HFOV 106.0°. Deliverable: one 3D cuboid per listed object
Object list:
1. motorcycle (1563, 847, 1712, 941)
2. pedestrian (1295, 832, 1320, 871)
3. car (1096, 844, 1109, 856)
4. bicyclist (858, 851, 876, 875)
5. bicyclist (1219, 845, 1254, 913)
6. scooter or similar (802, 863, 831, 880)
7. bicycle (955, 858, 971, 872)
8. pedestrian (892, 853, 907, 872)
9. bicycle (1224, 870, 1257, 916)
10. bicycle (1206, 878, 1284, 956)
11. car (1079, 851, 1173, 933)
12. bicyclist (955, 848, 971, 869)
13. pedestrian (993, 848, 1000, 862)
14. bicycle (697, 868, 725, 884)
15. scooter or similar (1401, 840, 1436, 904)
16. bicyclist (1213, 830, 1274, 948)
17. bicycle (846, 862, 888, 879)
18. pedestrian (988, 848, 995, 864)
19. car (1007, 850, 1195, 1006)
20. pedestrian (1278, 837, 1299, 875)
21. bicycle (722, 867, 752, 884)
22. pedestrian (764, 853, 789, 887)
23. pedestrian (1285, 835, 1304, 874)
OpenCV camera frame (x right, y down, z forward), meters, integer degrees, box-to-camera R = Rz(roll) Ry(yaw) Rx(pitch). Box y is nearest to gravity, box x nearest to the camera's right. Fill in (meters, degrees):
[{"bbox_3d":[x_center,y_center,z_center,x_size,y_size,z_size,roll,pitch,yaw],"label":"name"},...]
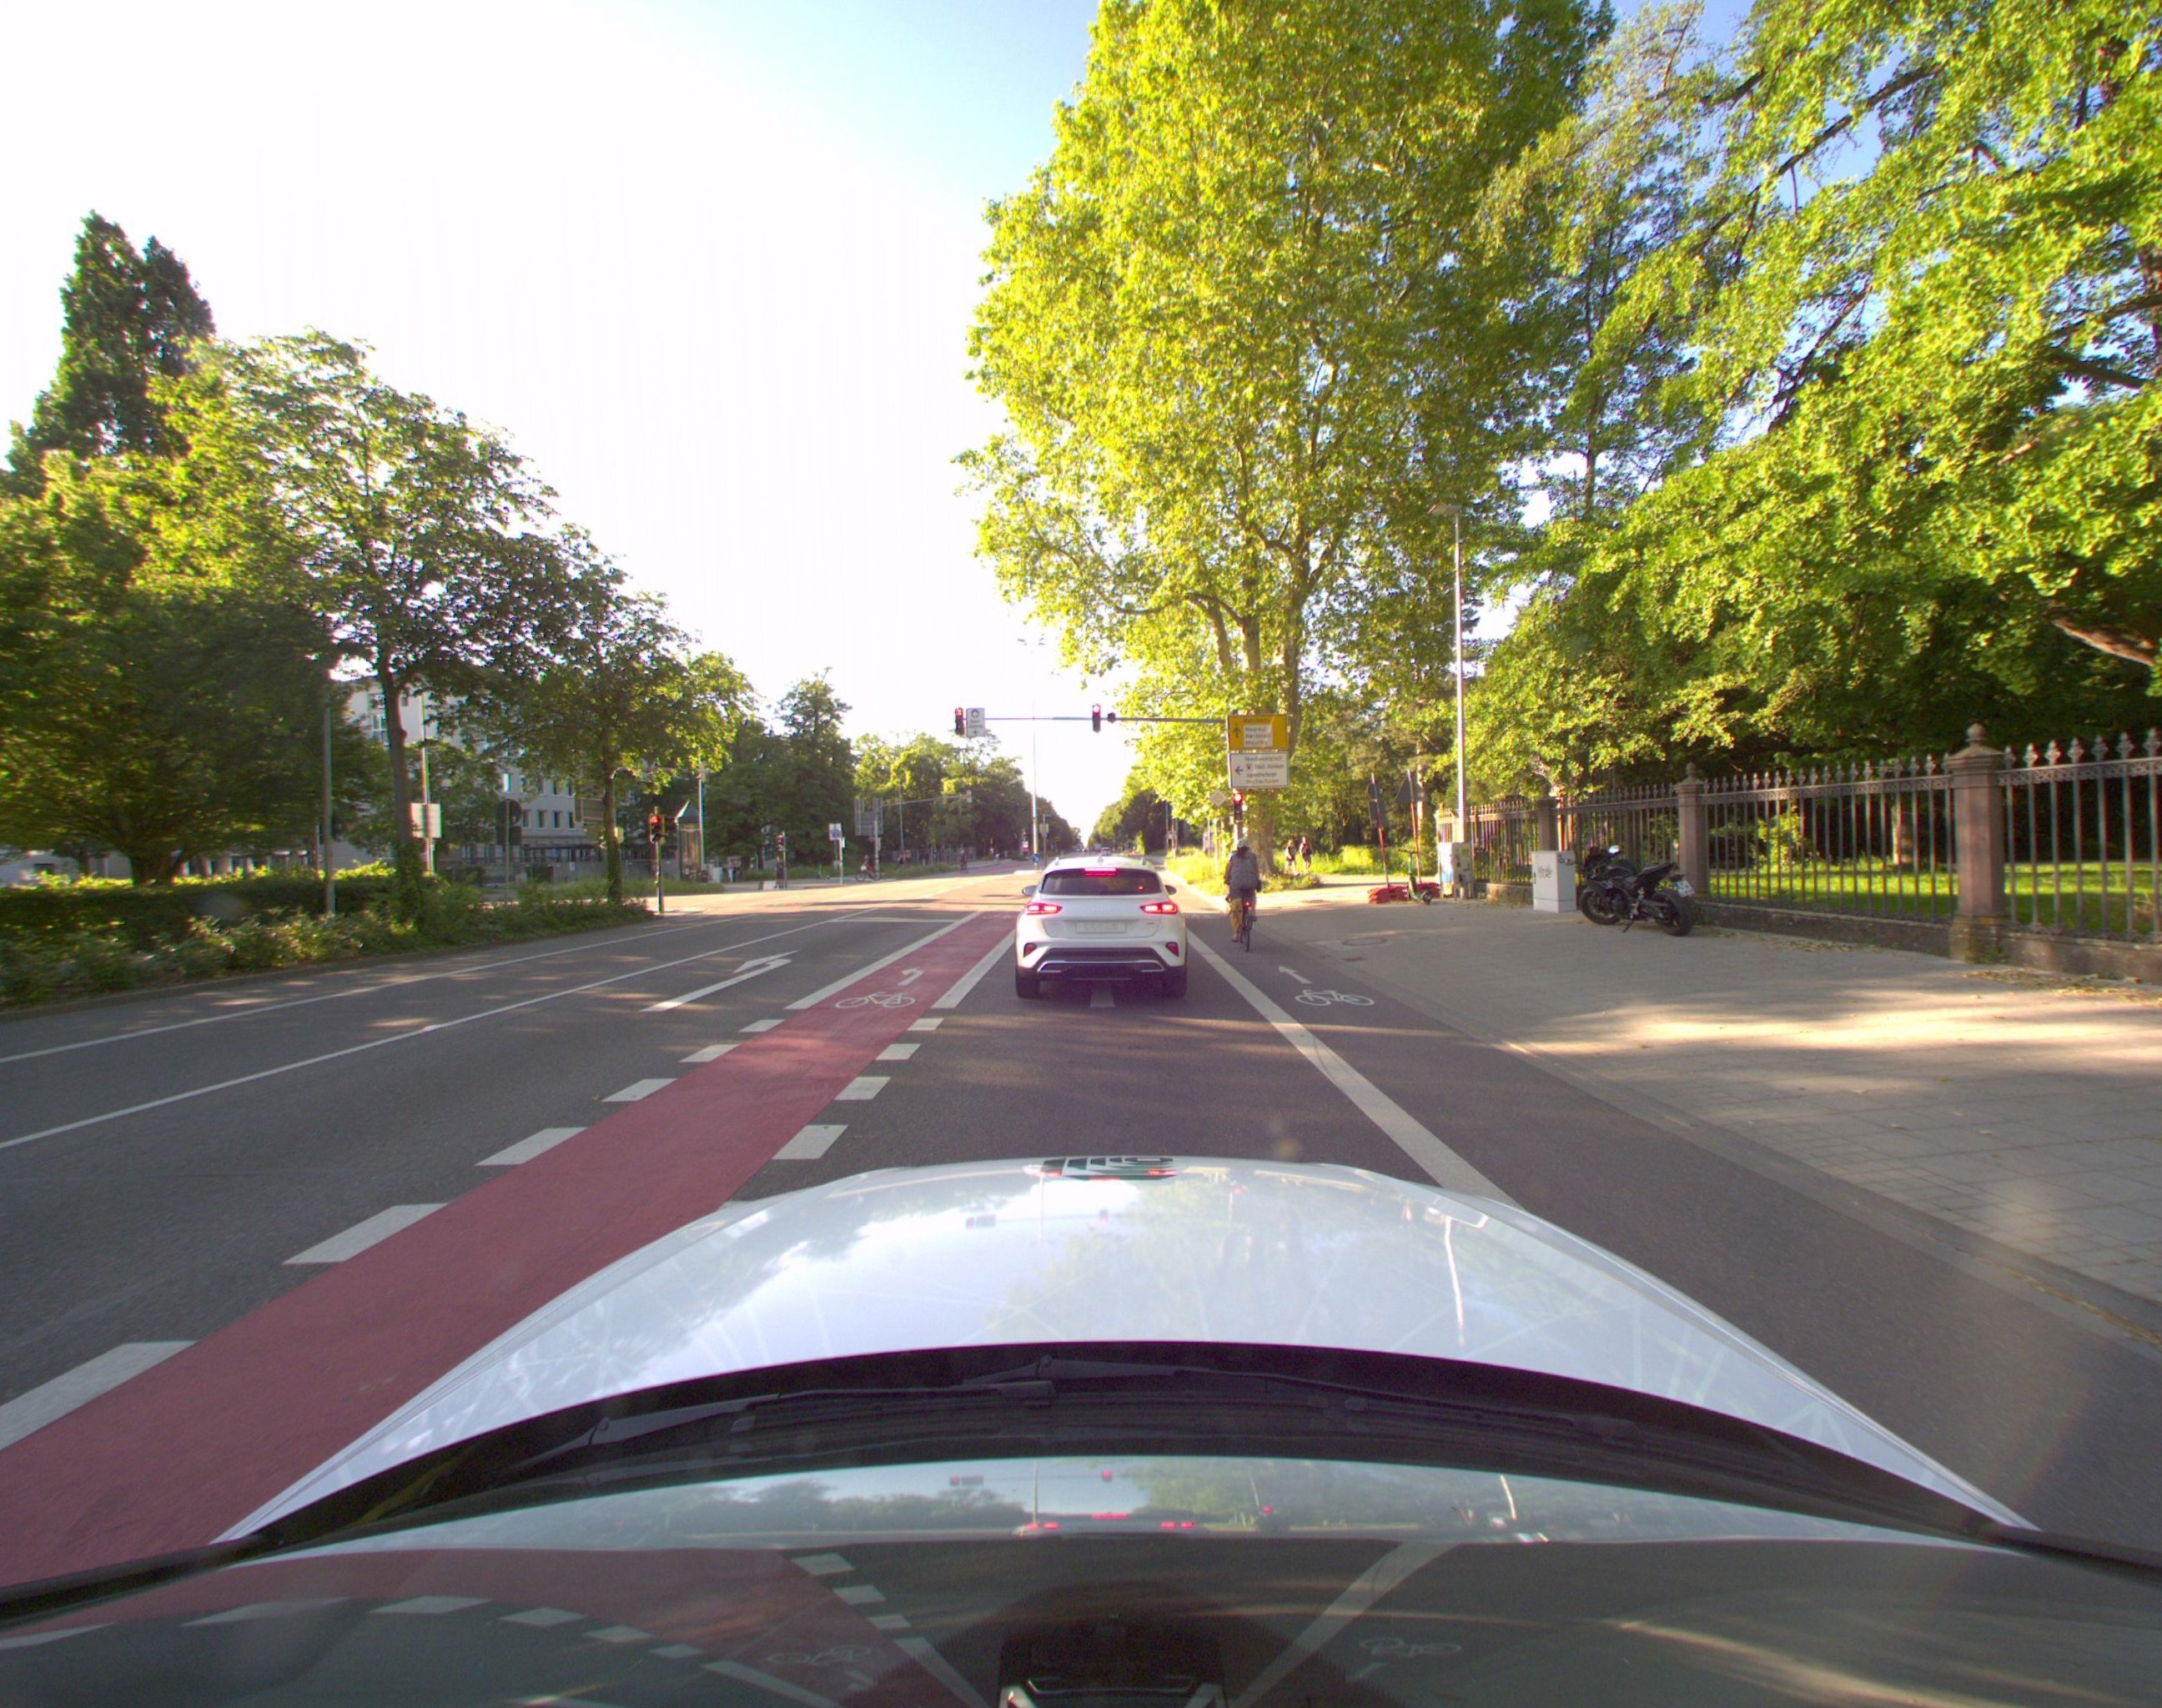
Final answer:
[{"bbox_3d":[7.496,0.493,11.110,0.504,1.131,2.171,-3,0,1],"label":"motorcycle"},{"bbox_3d":[10.619,-0.119,38.156,0.816,1.771,0.831,-2,0,-5],"label":"pedestrian"},{"bbox_3d":[3.571,-0.663,135.781,1.986,2.013,4.002,-3,0,2],"label":"car"},{"bbox_3d":[-14.763,0.649,56.233,0.980,1.606,0.870,-3,0,-27],"label":"bicyclist"},{"bbox_3d":[3.552,0.556,18.652,0.552,1.478,0.717,-5,0,0],"label":"bicyclist"},{"bbox_3d":[-18.902,1.230,58.132,0.703,1.124,1.933,-1,0,34],"label":"scooter or similar"},{"bbox_3d":[-9.110,0.846,63.151,0.660,0.989,2.507,-3,0,4],"label":"bicycle"},{"bbox_3d":[-16.076,0.778,72.127,1.086,1.603,0.999,-2,0,-5],"label":"pedestrian"},{"bbox_3d":[3.645,0.877,18.689,0.400,0.956,1.551,-5,0,1],"label":"bicycle"},{"bbox_3d":[2.555,0.943,12.968,0.755,1.013,2.570,0,0,1],"label":"bicycle"},{"bbox_3d":[0.866,0.719,17.206,1.723,1.483,3.517,-2,0,0],"label":"car"},{"bbox_3d":[-9.135,0.349,63.090,0.871,1.608,1.189,-3,0,4],"label":"bicyclist"},{"bbox_3d":[-11.129,0.092,107.691,0.782,1.785,0.752,-1,0,2],"label":"pedestrian"},{"bbox_3d":[-25.854,1.539,56.947,1.850,1.148,0.444,-1,0,10],"label":"bicycle"},{"bbox_3d":[7.316,0.377,17.659,0.227,1.327,1.172,-3,0,1],"label":"scooter or similar"},{"bbox_3d":[2.552,0.529,12.927,0.750,1.795,1.165,0,0,0],"label":"bicyclist"},{"bbox_3d":[-14.740,1.133,56.235,2.721,0.989,0.576,-3,0,-27],"label":"bicycle"},{"bbox_3d":[-11.763,0.272,107.384,0.637,2.014,0.756,-1,0,12],"label":"pedestrian"},{"bbox_3d":[0.219,0.721,9.929,1.815,1.480,3.936,-1,0,0],"label":"car"},{"bbox_3d":[9.538,0.107,37.489,0.688,1.699,0.643,-2,0,-5],"label":"pedestrian"},{"bbox_3d":[-23.931,1.506,56.670,1.859,1.148,0.290,-1,0,-5],"label":"bicycle"},{"bbox_3d":[-18.604,0.976,49.750,0.990,2.014,1.193,-1,0,7],"label":"pedestrian"},{"bbox_3d":[9.962,0.011,37.963,0.614,1.771,0.646,-2,0,-5],"label":"pedestrian"}]
